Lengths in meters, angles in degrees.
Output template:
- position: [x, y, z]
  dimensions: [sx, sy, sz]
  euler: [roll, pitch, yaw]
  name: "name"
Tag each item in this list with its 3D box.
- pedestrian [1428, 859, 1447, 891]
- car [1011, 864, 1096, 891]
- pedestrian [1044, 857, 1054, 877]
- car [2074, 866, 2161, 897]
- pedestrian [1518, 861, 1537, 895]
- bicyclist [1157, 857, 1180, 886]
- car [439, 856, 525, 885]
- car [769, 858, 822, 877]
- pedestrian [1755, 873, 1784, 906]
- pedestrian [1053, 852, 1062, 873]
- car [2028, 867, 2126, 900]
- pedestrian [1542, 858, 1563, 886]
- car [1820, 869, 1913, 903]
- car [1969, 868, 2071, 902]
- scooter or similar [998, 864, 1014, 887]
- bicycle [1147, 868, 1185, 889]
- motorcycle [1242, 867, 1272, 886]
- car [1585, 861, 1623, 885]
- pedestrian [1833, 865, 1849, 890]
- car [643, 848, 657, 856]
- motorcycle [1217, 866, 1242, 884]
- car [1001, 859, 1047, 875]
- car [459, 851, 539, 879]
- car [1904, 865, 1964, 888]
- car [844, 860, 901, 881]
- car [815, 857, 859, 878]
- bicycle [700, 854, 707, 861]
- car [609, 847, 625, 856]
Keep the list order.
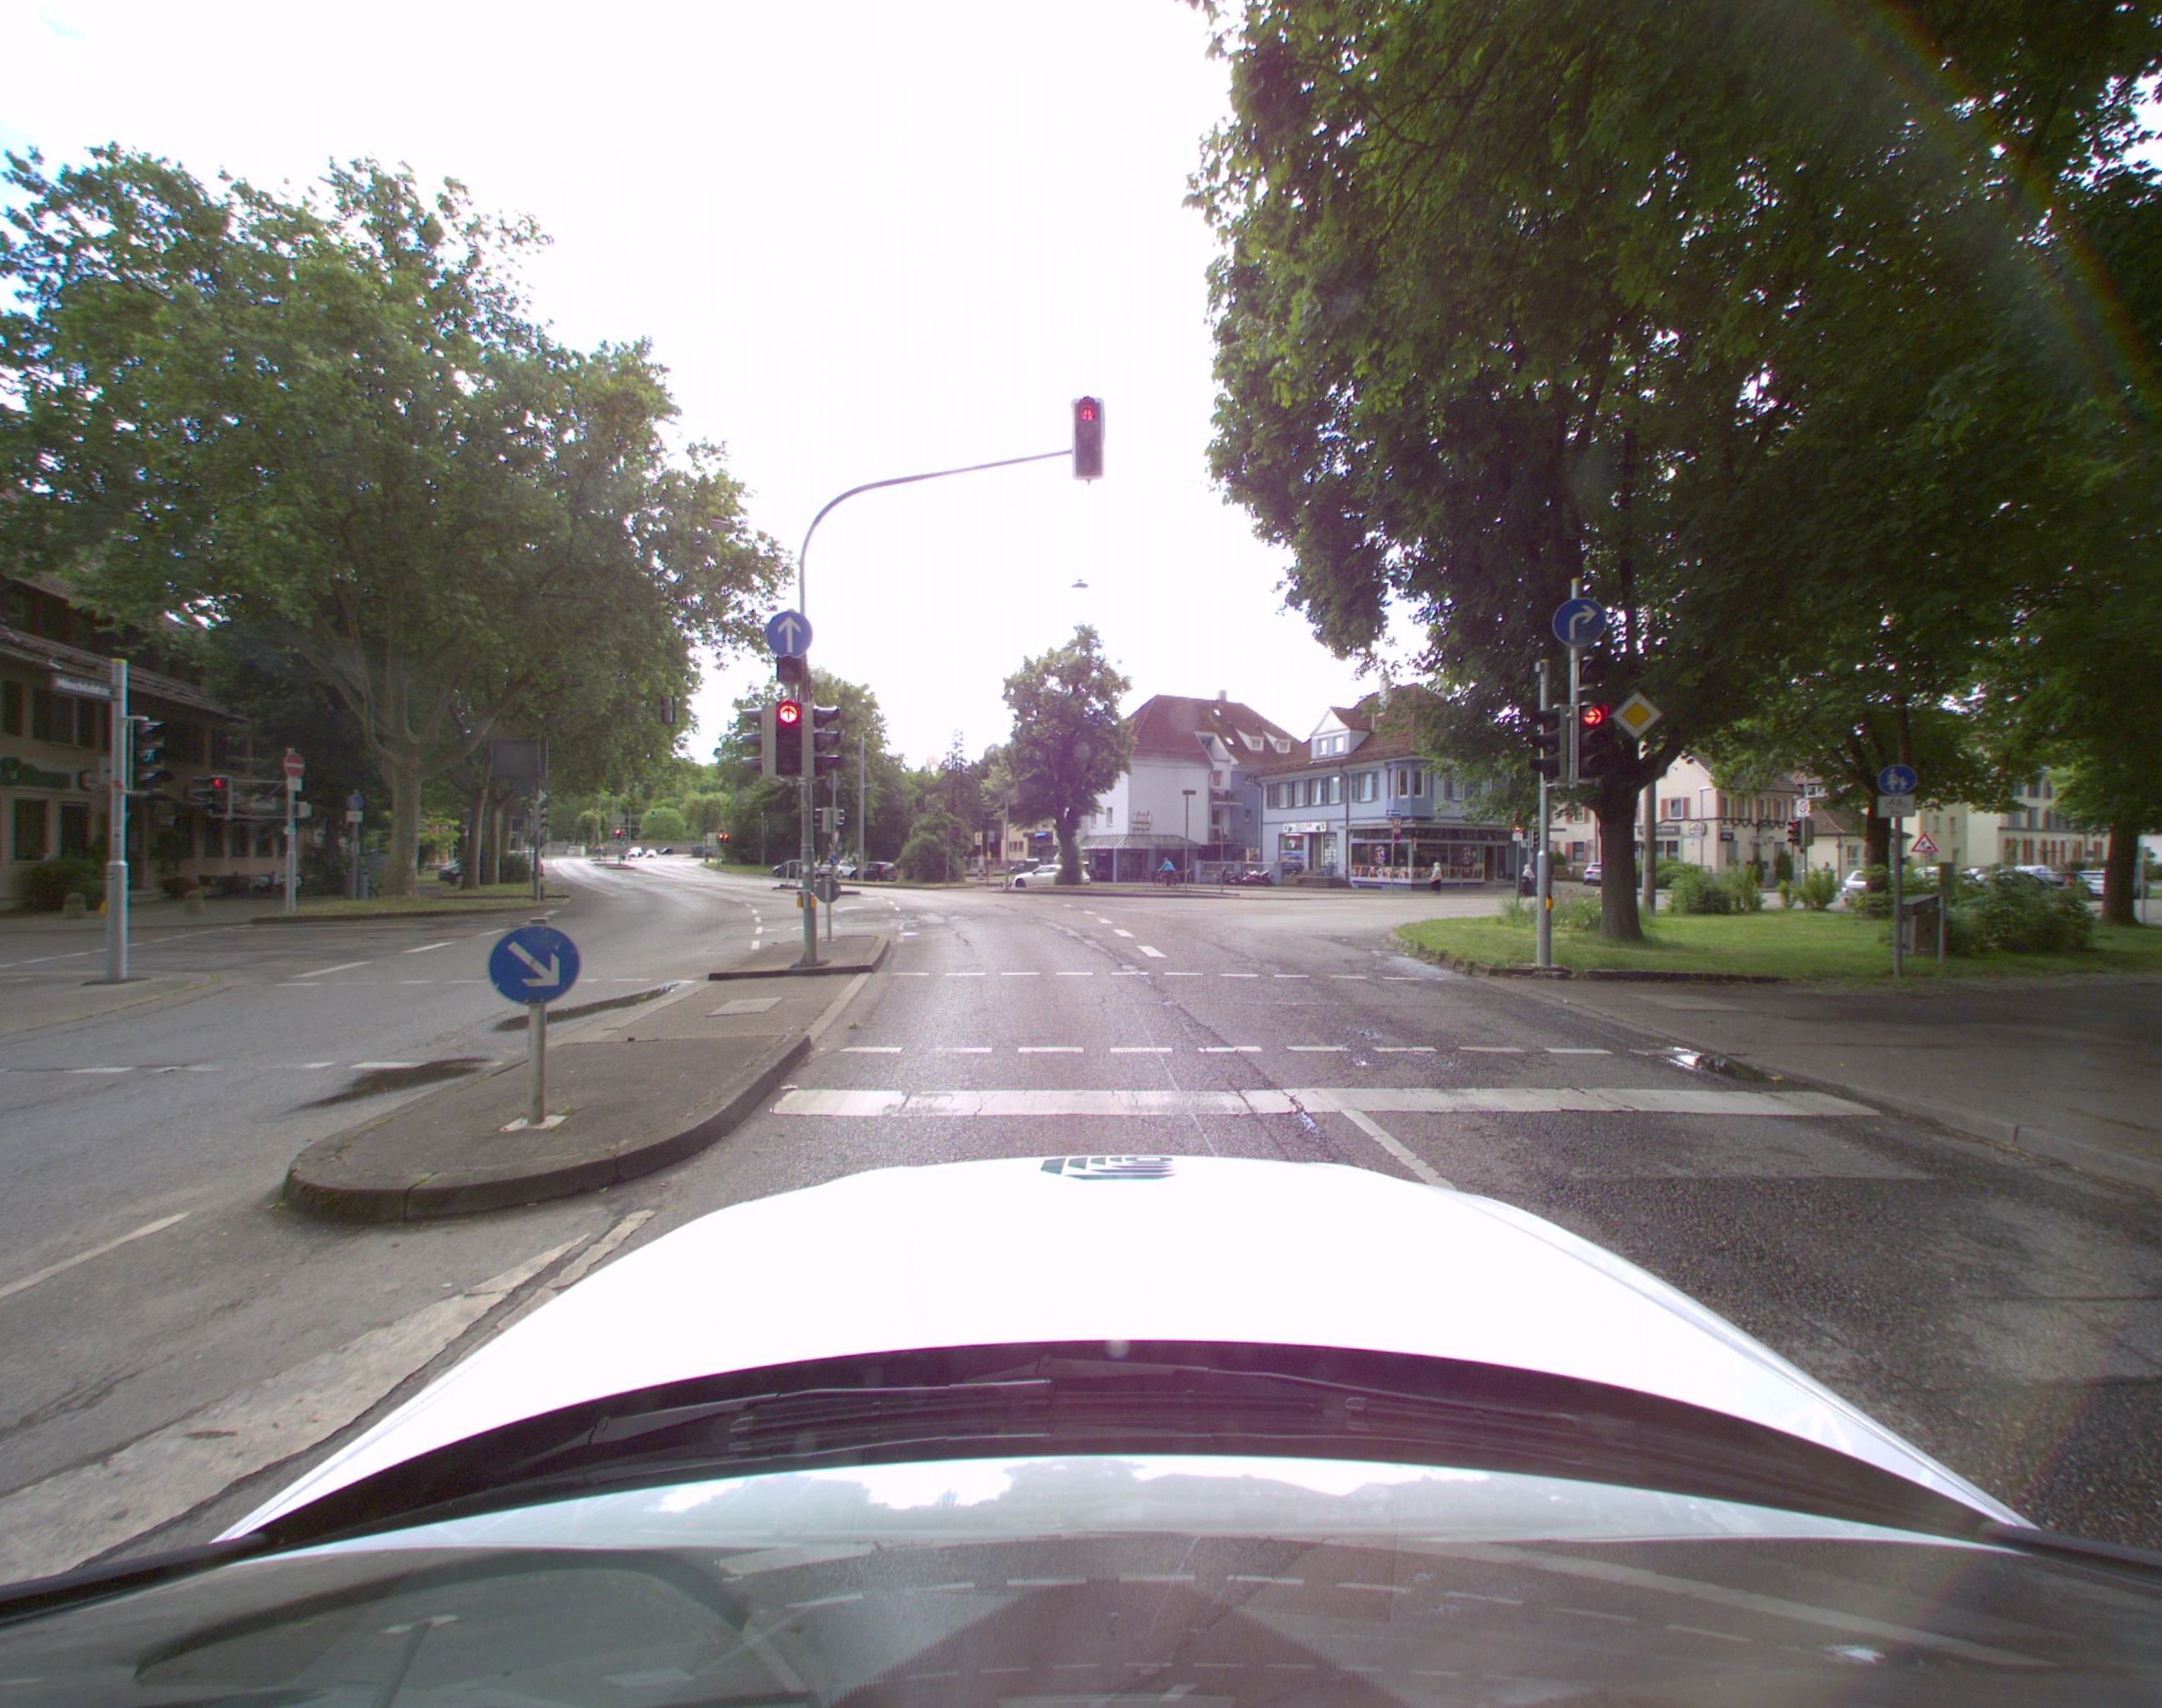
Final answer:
- position: [17.476, 1.029, 39.896]
  dimensions: [0.724, 1.560, 0.773]
  euler: [-1, -1, 33]
  name: "pedestrian"
- position: [-1.594, 1.285, 45.929]
  dimensions: [4.654, 1.410, 1.914]
  euler: [0, -1, 37]
  name: "car"
- position: [-3.227, 1.295, 81.081]
  dimensions: [0.838, 2.014, 1.051]
  euler: [0, -1, -12]
  name: "pedestrian"
- position: [52.596, 1.367, 41.249]
  dimensions: [3.731, 1.457, 1.640]
  euler: [0, 0, -17]
  name: "car"
- position: [20.873, 1.119, 38.083]
  dimensions: [0.687, 1.560, 0.671]
  euler: [-1, -1, 33]
  name: "pedestrian"
- position: [4.960, 0.988, 46.265]
  dimensions: [0.976, 1.651, 0.924]
  euler: [-1, -1, 37]
  name: "bicyclist"
- position: [-35.629, 0.956, 48.605]
  dimensions: [4.015, 1.684, 1.979]
  euler: [0, -1, -34]
  name: "car"
- position: [-22.588, 1.026, 64.514]
  dimensions: [3.742, 1.465, 1.629]
  euler: [0, 0, 20]
  name: "car"
- position: [22.794, 1.181, 26.972]
  dimensions: [0.505, 1.081, 0.514]
  euler: [0, -1, -13]
  name: "pedestrian"
- position: [-1.722, 0.615, 59.422]
  dimensions: [0.538, 1.560, 0.470]
  euler: [-1, -1, 15]
  name: "pedestrian"
- position: [47.080, 1.368, 38.511]
  dimensions: [3.731, 1.457, 1.640]
  euler: [0, 0, -17]
  name: "car"
- position: [26.322, 0.985, 45.468]
  dimensions: [0.671, 1.560, 0.743]
  euler: [0, -1, -13]
  name: "pedestrian"
- position: [31.889, 1.268, 33.070]
  dimensions: [3.007, 1.267, 1.455]
  euler: [0, -1, -17]
  name: "car"
- position: [42.346, 1.377, 36.749]
  dimensions: [3.731, 1.457, 1.640]
  euler: [0, 0, -17]
  name: "car"
- position: [-3.952, 1.139, 42.843]
  dimensions: [0.439, 1.175, 1.442]
  euler: [-1, -1, 11]
  name: "scooter or similar"
- position: [4.829, 1.359, 46.347]
  dimensions: [1.927, 1.149, 0.882]
  euler: [0, -1, 38]
  name: "bicycle"
- position: [10.428, 1.317, 48.241]
  dimensions: [1.609, 1.088, 0.631]
  euler: [-1, -1, 34]
  name: "motorcycle"
- position: [32.459, 1.138, 50.616]
  dimensions: [1.866, 1.391, 3.637]
  euler: [0, 0, 31]
  name: "car"
- position: [48.233, 1.485, 51.679]
  dimensions: [0.504, 1.560, 0.507]
  euler: [0, -1, -13]
  name: "pedestrian"
- position: [-83.195, -0.372, 157.197]
  dimensions: [2.988, 1.417, 1.509]
  euler: [-1, -2, 43]
  name: "car"
- position: [9.135, 1.306, 50.044]
  dimensions: [1.441, 1.088, 0.527]
  euler: [-1, -1, 37]
  name: "motorcycle"
- position: [-5.319, 1.231, 75.914]
  dimensions: [3.948, 1.442, 1.742]
  euler: [0, 0, -18]
  name: "car"
- position: [-36.459, 0.681, 51.174]
  dimensions: [4.015, 1.684, 1.979]
  euler: [0, -1, -34]
  name: "car"
- position: [56.280, 1.453, 53.720]
  dimensions: [3.871, 1.447, 1.753]
  euler: [0, -1, -28]
  name: "car"
- position: [-13.826, 1.054, 53.998]
  dimensions: [3.285, 1.352, 1.791]
  euler: [0, 0, 29]
  name: "car"
- position: [-20.134, 1.084, 67.405]
  dimensions: [1.848, 1.640, 3.768]
  euler: [0, 0, 13]
  name: "car"
- position: [-52.253, 0.552, 112.797]
  dimensions: [0.557, 0.958, 2.023]
  euler: [0, 0, -14]
  name: "bicycle"
- position: [-87.263, -0.443, 153.143]
  dimensions: [3.293, 1.486, 1.594]
  euler: [-1, -2, 43]
  name: "car"
